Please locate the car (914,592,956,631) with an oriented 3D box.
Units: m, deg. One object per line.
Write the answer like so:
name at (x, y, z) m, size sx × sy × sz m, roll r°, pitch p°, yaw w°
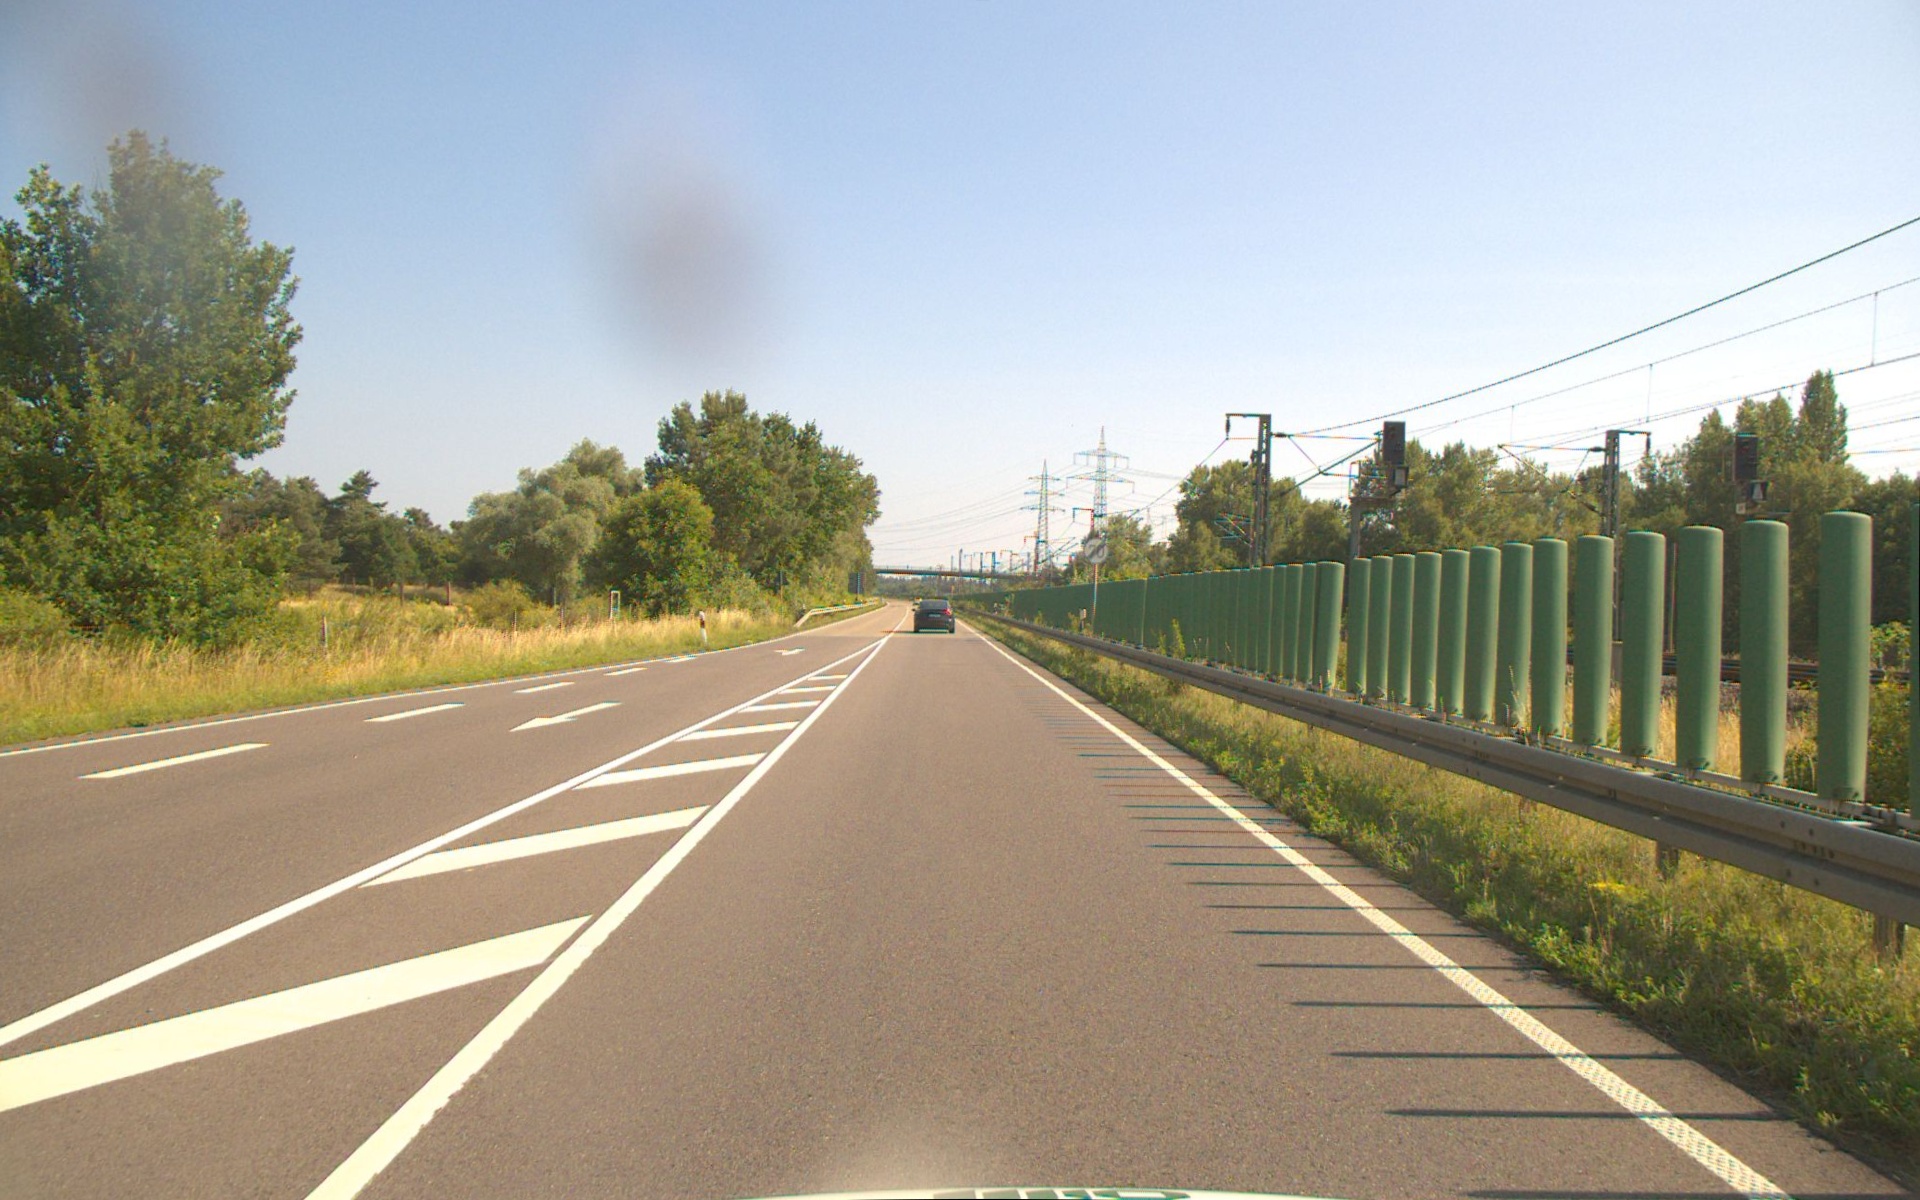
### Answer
car at (-1.124, 0.505, 73.380) m, size 1.821 × 1.670 × 3.999 m, roll 0°, pitch 0°, yaw -1°
